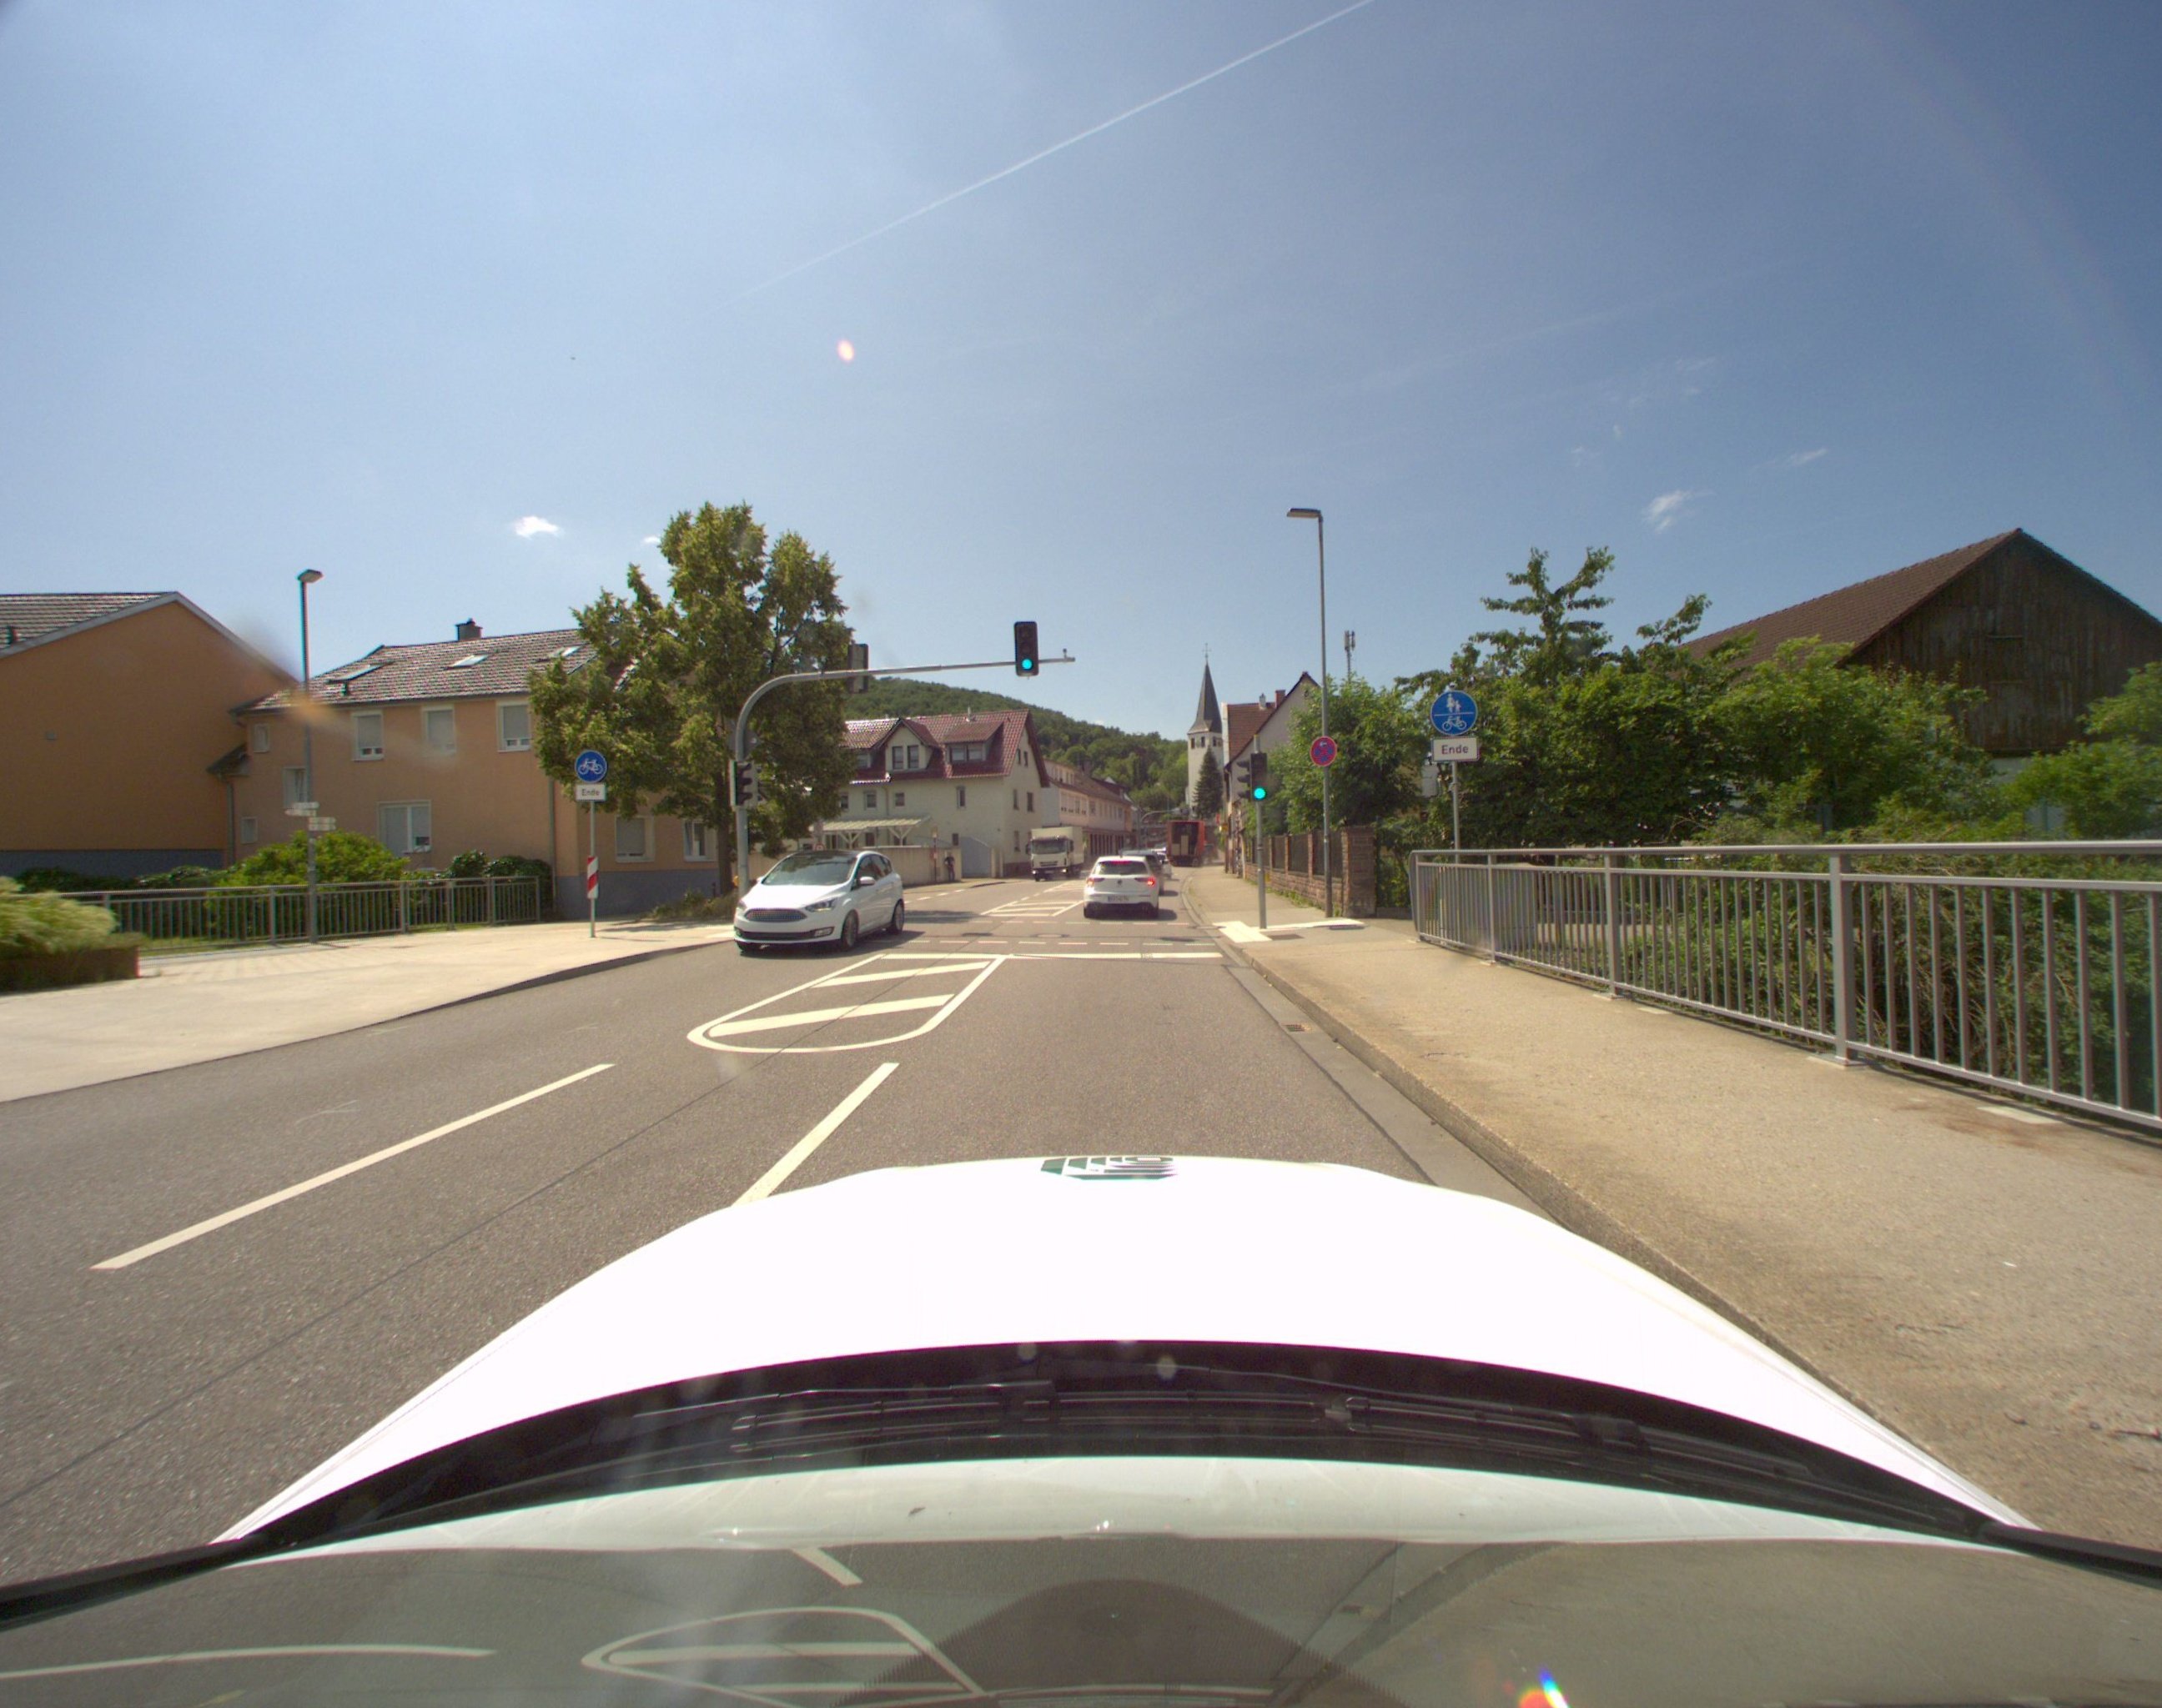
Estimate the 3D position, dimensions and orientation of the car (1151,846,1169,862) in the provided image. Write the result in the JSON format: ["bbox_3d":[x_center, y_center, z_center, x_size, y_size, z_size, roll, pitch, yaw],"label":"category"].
[{"bbox_3d":[8.371,-0.005,85.928,1.806,1.519,4.007,-3,-1,6],"label":"car"}]

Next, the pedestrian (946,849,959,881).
[{"bbox_3d":[-7.096,0.618,44.977,0.430,1.764,0.560,-2,0,25],"label":"pedestrian"}]

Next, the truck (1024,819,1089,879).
[{"bbox_3d":[-1.360,-0.286,48.565,2.486,3.235,6.057,-3,-1,10],"label":"truck"}]

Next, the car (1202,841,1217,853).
[{"bbox_3d":[18.163,-0.992,115.097,1.806,1.519,4.007,-3,-1,6],"label":"car"}]

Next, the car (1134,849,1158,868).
[{"bbox_3d":[5.506,0.366,68.390,1.806,1.519,4.007,-3,-1,6],"label":"car"}]

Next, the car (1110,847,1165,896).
[{"bbox_3d":[2.174,0.608,30.350,1.806,1.628,4.007,-3,-1,6],"label":"car"}]

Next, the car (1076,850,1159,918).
[{"bbox_3d":[1.006,0.698,20.295,1.806,1.519,4.007,0,0,6],"label":"car"}]

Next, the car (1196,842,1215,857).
[{"bbox_3d":[13.455,-0.498,88.075,1.806,1.519,4.007,-3,-1,6],"label":"car"}]

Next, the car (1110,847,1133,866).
[{"bbox_3d":[3.839,0.222,76.904,1.728,1.651,3.678,-1,0,9],"label":"car"}]

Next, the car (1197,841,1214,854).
[{"bbox_3d":[15.738,-0.778,103.121,1.806,1.519,4.007,-3,-1,6],"label":"car"}]

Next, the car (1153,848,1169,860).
[{"bbox_3d":[10.549,0.015,107.114,1.784,1.508,4.145,-3,-1,10],"label":"car"}]

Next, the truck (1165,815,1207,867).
[{"bbox_3d":[9.570,-1.086,73.391,3.347,4.170,9.542,-3,-1,9],"label":"truck"}]

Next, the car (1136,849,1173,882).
[{"bbox_3d":[4.005,0.599,44.033,1.806,1.628,4.007,-3,-1,6],"label":"car"}]

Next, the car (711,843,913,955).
[{"bbox_3d":[-4.419,0.683,14.086,1.806,1.649,4.007,0,0,6],"label":"car"}]
